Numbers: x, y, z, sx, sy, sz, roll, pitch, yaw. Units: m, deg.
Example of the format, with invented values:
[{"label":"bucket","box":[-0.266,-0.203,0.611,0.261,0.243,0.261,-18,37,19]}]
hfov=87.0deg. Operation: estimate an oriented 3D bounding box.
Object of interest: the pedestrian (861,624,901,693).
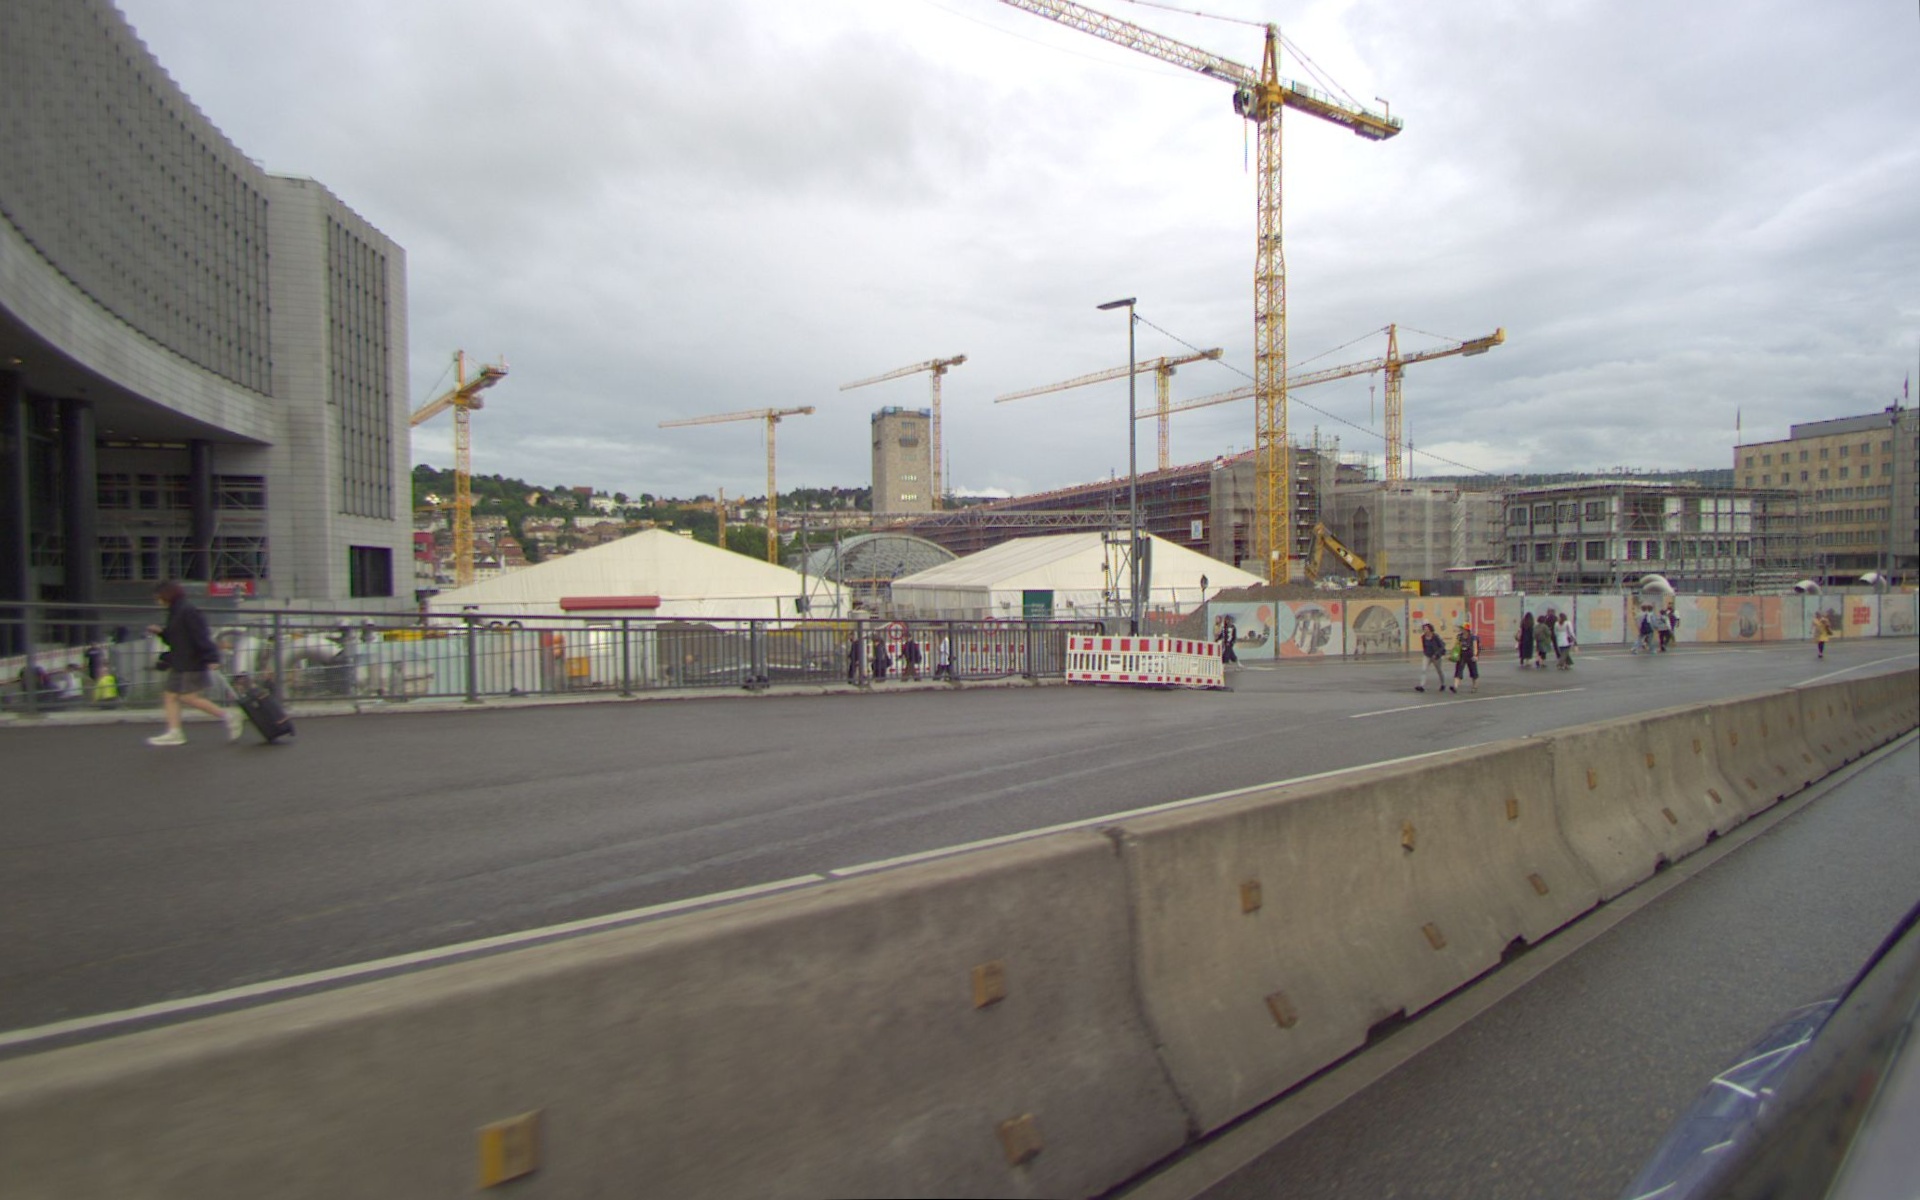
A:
[{"label":"pedestrian","box":[-2.178,1.601,27.854,0.987,1.805,0.775,-1,0,-12]}]

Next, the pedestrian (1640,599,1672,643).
[{"label":"pedestrian","box":[26.825,0.811,39.014,0.750,1.676,0.650,-1,0,-5]}]

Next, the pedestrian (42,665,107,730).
[{"label":"pedestrian","box":[-24.027,2.639,27.481,0.988,1.657,0.870,-1,1,-7]}]

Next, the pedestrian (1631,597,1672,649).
[{"label":"pedestrian","box":[25.351,0.826,37.089,0.913,1.872,0.821,-1,0,-5]}]

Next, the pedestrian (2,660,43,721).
[{"label":"pedestrian","box":[-27.452,2.632,29.629,0.855,1.657,1.005,-1,1,-44]}]

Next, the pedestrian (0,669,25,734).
[{"label":"pedestrian","box":[-25.469,2.668,26.599,0.991,1.657,0.867,0,1,8]}]

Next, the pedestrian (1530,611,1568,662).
[{"label":"pedestrian","box":[18.416,1.144,31.659,0.867,1.541,0.612,-1,0,-22]}]

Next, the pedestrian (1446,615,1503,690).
[{"label":"pedestrian","box":[11.228,1.130,22.114,0.788,1.595,0.735,-1,-1,-14]}]

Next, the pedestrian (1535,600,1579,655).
[{"label":"pedestrian","box":[20.453,0.930,34.692,0.987,1.840,0.870,-1,1,-22]}]

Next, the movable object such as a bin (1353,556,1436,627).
[{"label":"movable object such as a bin","box":[22.231,-0.463,51.724,4.150,3.451,1.944,-1,1,-34]}]

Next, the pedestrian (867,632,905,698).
[{"label":"pedestrian","box":[-1.932,1.681,26.352,0.897,1.657,0.728,-1,0,-12]}]

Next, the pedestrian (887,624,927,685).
[{"label":"pedestrian","box":[-1.514,1.533,28.886,0.987,1.657,0.870,-1,1,-12]}]

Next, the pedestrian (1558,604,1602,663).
[{"label":"pedestrian","box":[19.025,1.016,31.076,0.872,1.744,0.781,-1,1,-22]}]

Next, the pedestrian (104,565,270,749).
[{"label":"pedestrian","box":[-7.356,0.517,9.681,1.038,1.673,0.733,0,0,-14]}]

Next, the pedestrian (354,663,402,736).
[{"label":"pedestrian","box":[-13.768,2.348,23.954,0.758,1.657,0.603,0,0,7]}]

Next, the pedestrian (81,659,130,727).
[{"label":"pedestrian","box":[-22.119,2.401,26.204,0.645,1.657,0.737,0,0,18]}]

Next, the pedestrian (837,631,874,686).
[{"label":"pedestrian","box":[-3.134,1.732,30.191,0.987,1.572,0.870,-1,1,-12]}]

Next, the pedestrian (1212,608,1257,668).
[{"label":"pedestrian","box":[8.310,1.137,30.658,0.987,1.747,0.870,-1,1,-12]}]

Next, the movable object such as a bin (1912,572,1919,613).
[{"label":"movable object such as a bin","box":[60.890,-0.466,61.362,4.068,2.567,1.992,0,1,14]}]

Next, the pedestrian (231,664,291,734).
[{"label":"pedestrian","box":[-17.856,2.515,25.881,0.987,1.657,0.870,-1,1,-12]}]

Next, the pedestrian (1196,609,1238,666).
[{"label":"pedestrian","box":[8.034,1.155,31.645,0.987,1.710,0.870,-1,1,-12]}]

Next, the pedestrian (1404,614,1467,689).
[{"label":"pedestrian","box":[10.727,1.148,22.854,0.932,1.613,0.865,-1,1,-14]}]

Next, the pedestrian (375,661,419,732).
[{"label":"pedestrian","box":[-13.694,2.334,24.627,0.739,1.657,0.586,0,0,7]}]

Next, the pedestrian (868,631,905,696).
[{"label":"pedestrian","box":[-1.977,1.692,27.111,0.897,1.657,0.701,-1,0,-12]}]

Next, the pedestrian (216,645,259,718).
[{"label":"pedestrian","box":[-16.984,1.899,23.811,0.554,1.636,0.707,-1,0,-9]}]

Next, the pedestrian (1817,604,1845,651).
[{"label":"pedestrian","box":[31.494,0.981,36.573,0.892,1.653,0.648,-1,1,-41]}]

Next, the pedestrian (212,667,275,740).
[{"label":"pedestrian","box":[-17.547,2.514,24.801,0.987,1.657,0.870,-1,1,-12]}]

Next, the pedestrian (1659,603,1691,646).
[{"label":"pedestrian","box":[27.045,0.924,38.277,0.750,1.572,0.650,-1,0,-5]}]

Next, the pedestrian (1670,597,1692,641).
[{"label":"pedestrian","box":[29.577,0.757,41.522,0.485,1.770,0.569,-1,0,-23]}]

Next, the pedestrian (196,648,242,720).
[{"label":"pedestrian","box":[-19.824,2.230,27.078,0.633,1.838,0.752,0,0,18]}]

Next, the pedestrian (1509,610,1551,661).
[{"label":"pedestrian","box":[18.209,1.108,32.330,0.987,1.572,0.718,-1,1,-22]}]

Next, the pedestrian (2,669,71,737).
[{"label":"pedestrian","box":[-24.004,2.660,26.317,0.990,1.657,0.868,0,1,3]}]

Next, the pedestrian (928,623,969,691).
[{"label":"pedestrian","box":[-0.322,1.574,28.188,0.987,1.804,0.870,-1,0,-12]}]
